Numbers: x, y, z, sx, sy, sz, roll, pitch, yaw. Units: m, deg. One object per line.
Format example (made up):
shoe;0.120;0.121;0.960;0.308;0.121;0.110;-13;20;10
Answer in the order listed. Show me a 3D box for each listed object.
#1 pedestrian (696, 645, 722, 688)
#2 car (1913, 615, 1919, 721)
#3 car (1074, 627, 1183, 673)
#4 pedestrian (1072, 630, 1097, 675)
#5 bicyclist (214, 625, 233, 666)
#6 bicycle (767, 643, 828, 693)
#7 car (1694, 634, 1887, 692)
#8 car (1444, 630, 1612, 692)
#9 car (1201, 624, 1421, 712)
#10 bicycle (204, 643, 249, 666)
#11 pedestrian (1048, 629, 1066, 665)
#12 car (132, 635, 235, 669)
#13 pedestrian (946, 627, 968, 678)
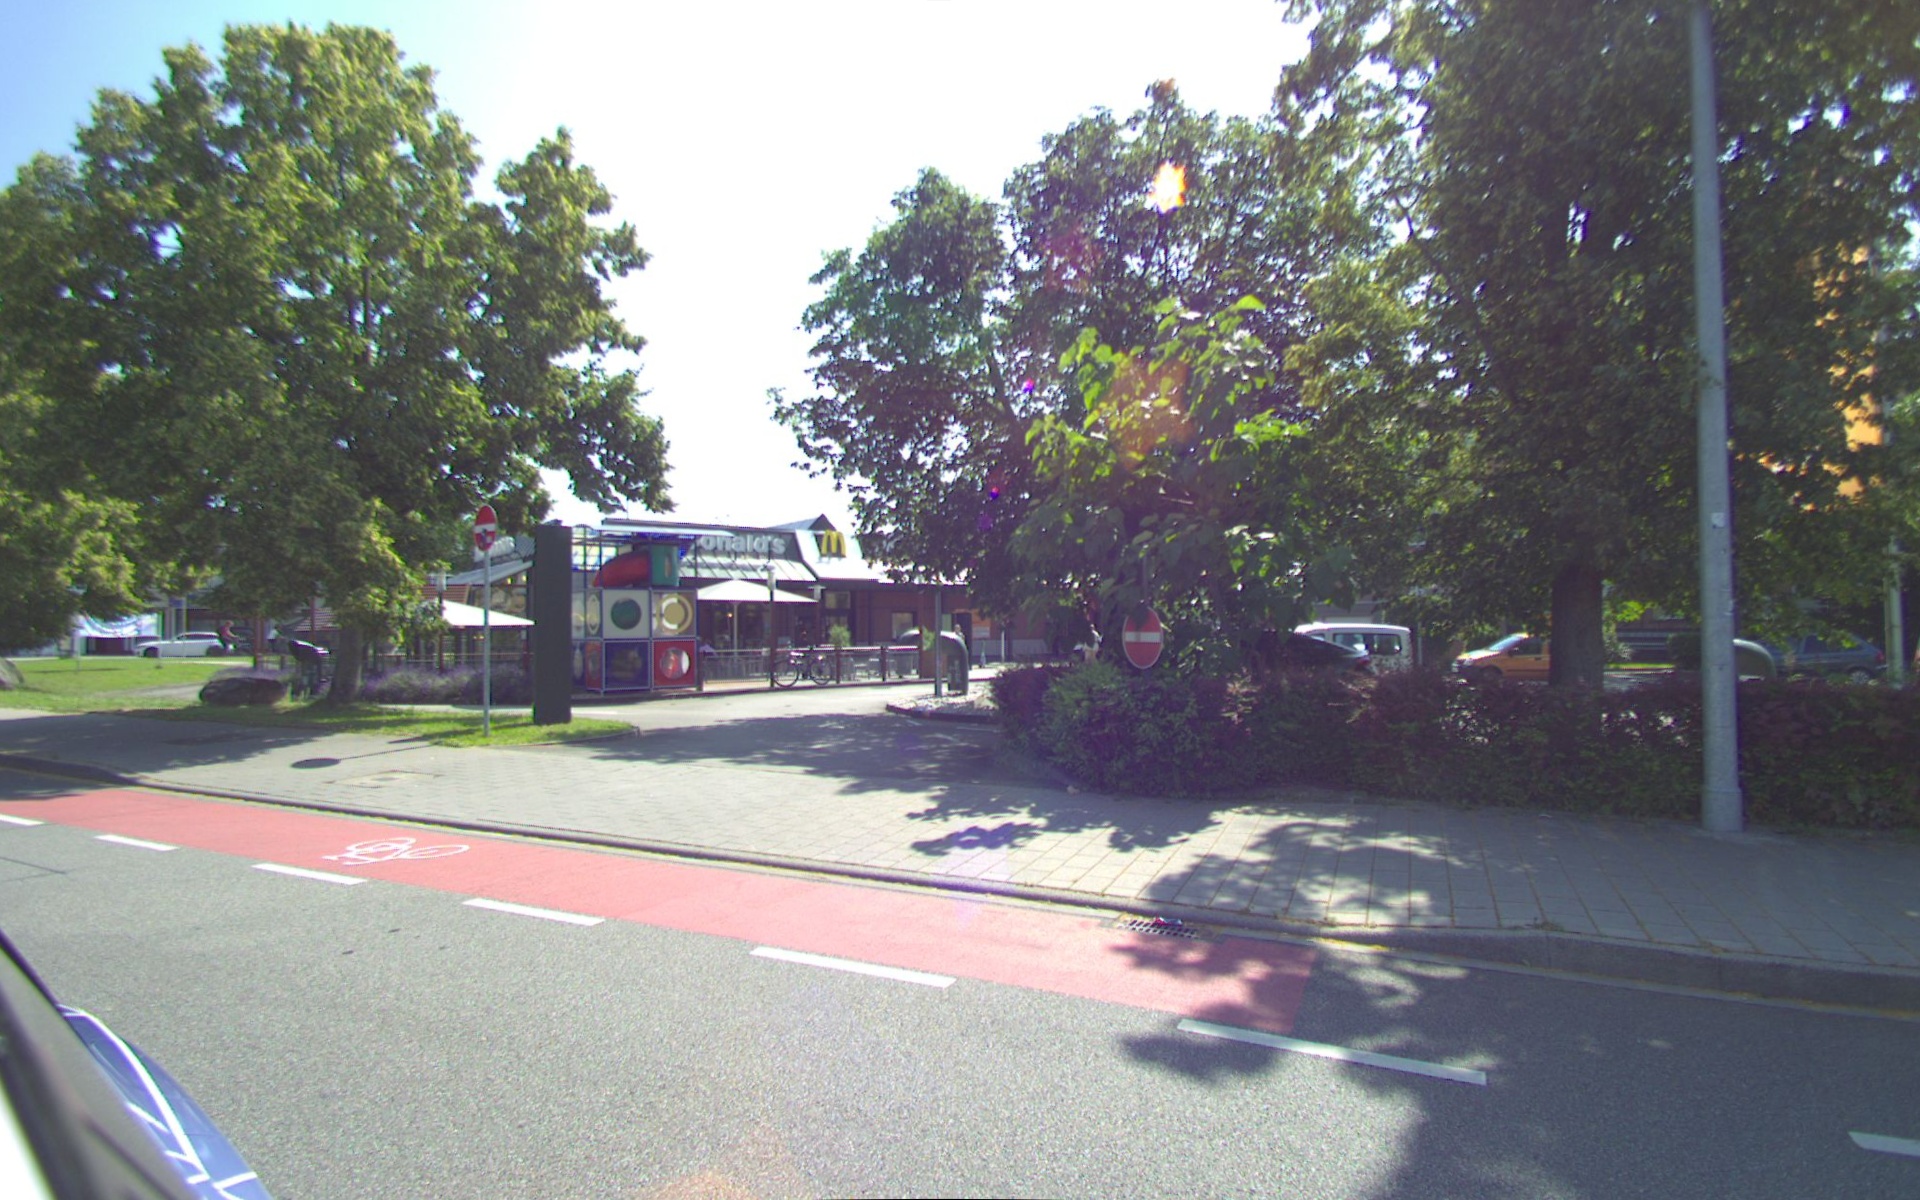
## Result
pedestrian;-7.563;1.993;30.487;0.543;1.219;0.594;-4;3;-31
car;17.335;1.096;15.387;1.727;1.841;4.347;-1;-2;5
car;6.426;1.880;38.510;3.961;1.670;1.947;-1;-2;14
pedestrian;4.626;1.941;37.595;0.825;1.650;0.785;-1;-2;13
bicyclist;-34.845;2.133;47.871;0.646;1.910;0.554;2;0;-36
bicycle;-4.233;1.760;26.365;1.585;1.195;0.310;-1;1;-35
car;23.832;1.770;29.263;4.165;1.529;1.742;-1;-2;37
car;15.760;1.685;28.262;3.684;1.644;1.663;-1;-1;11
car;7.608;1.463;22.251;4.171;1.812;1.759;0;-1;2
bicycle;-34.752;2.594;47.947;1.697;1.051;0.584;2;0;-37
pedestrian;4.460;2.151;46.725;0.613;1.664;0.543;1;-3;-37
car;-41.524;2.743;54.243;4.299;1.639;1.836;1;1;-38
pedestrian;-0.084;1.662;32.120;0.591;1.579;0.569;-1;-1;12
